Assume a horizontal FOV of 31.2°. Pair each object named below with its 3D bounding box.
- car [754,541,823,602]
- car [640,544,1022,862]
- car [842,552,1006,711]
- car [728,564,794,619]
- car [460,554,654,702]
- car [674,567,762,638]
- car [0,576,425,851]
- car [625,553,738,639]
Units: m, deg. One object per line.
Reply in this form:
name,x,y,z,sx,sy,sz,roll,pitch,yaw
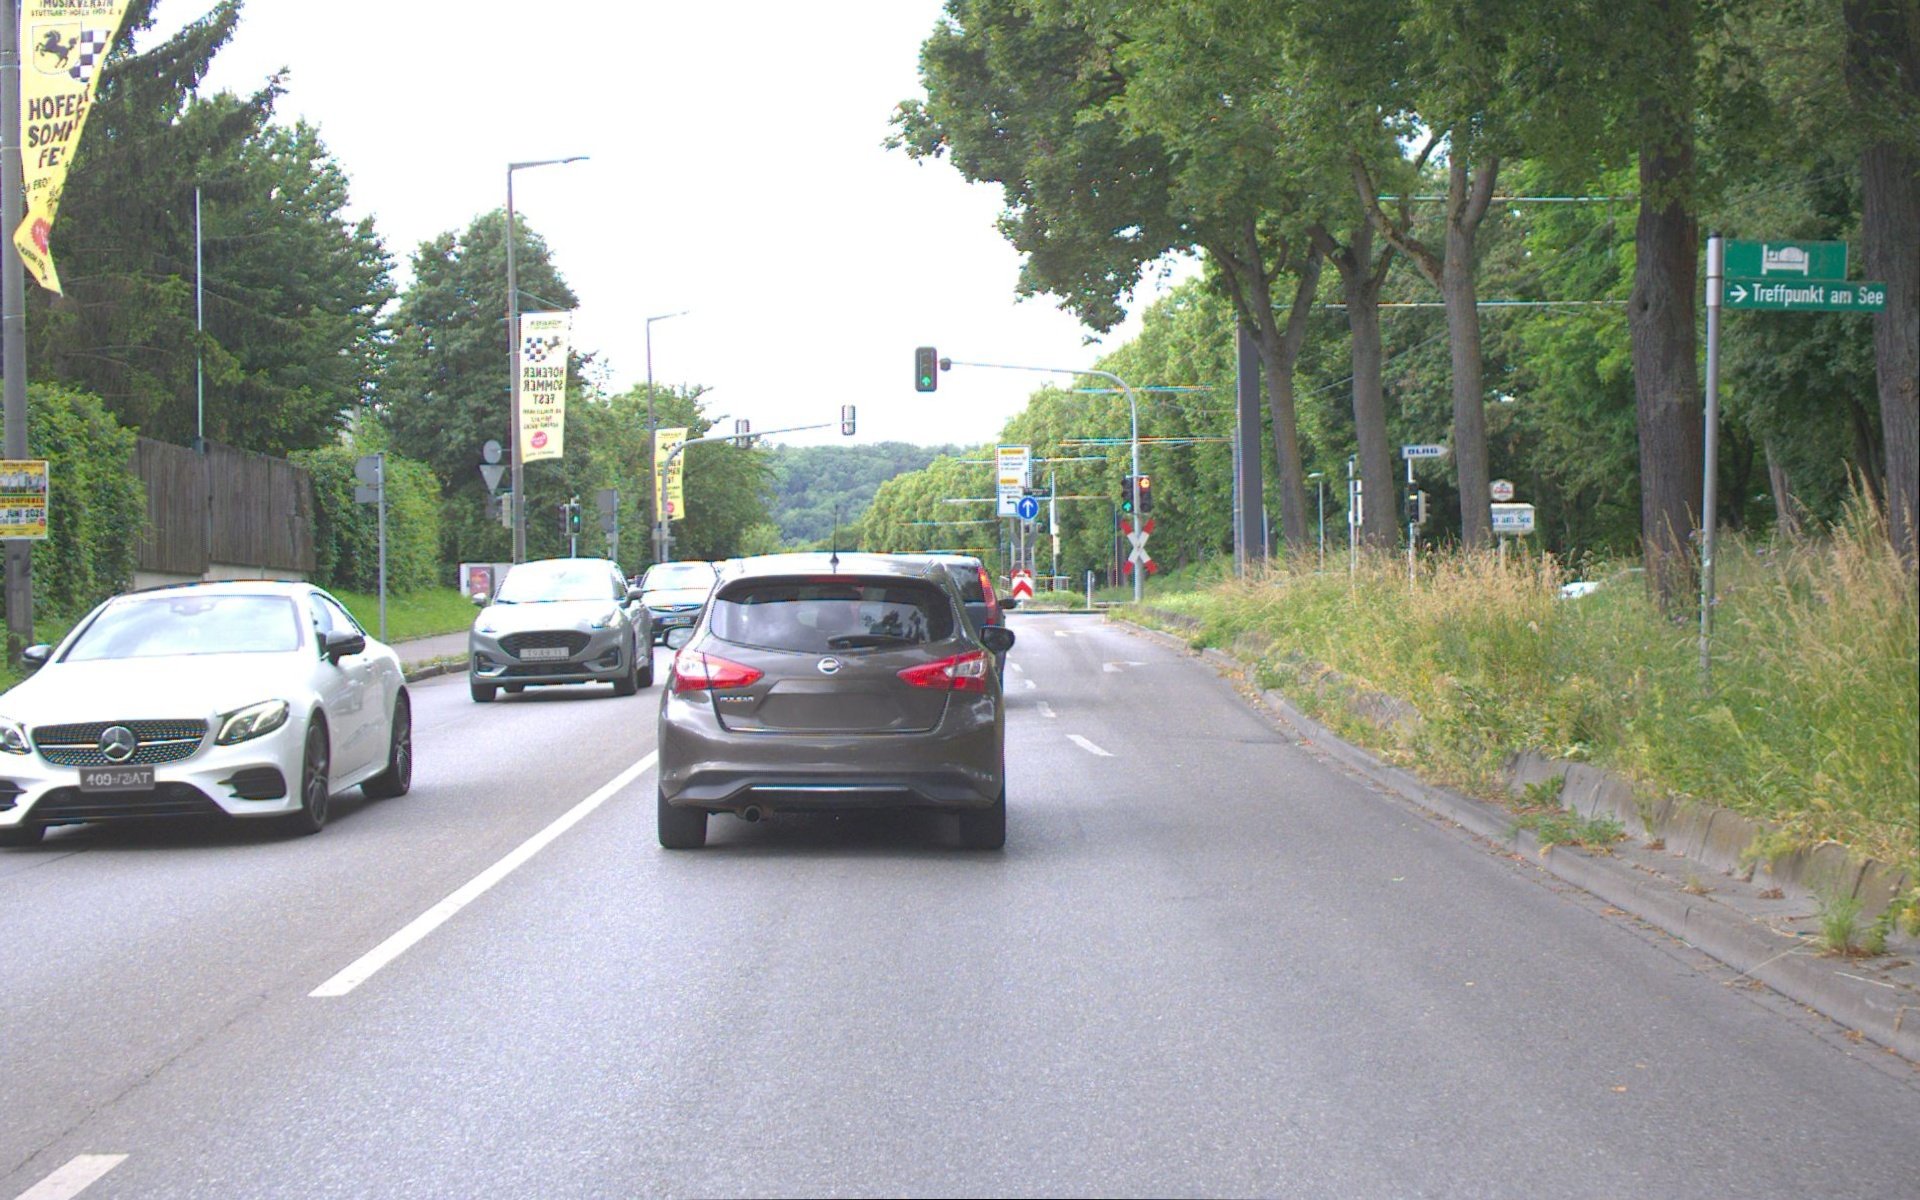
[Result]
car,-4.442,-0.760,89.505,1.643,1.476,4.107,-3,1,-2
car,-0.631,0.465,18.934,1.835,1.514,4.483,1,1,0
car,-0.344,0.270,34.347,1.538,1.473,3.764,-1,1,0
car,-5.965,-0.275,103.393,1.812,1.519,4.178,-2,1,-2
car,-4.503,0.275,38.877,1.751,1.513,4.000,-3,1,-1
car,-5.554,0.035,79.240,1.618,1.456,4.072,-4,1,0
car,-4.529,0.600,20.656,1.886,1.378,4.491,-2,1,0
car,-5.058,-0.099,62.871,1.728,1.459,4.154,-2,1,-1
